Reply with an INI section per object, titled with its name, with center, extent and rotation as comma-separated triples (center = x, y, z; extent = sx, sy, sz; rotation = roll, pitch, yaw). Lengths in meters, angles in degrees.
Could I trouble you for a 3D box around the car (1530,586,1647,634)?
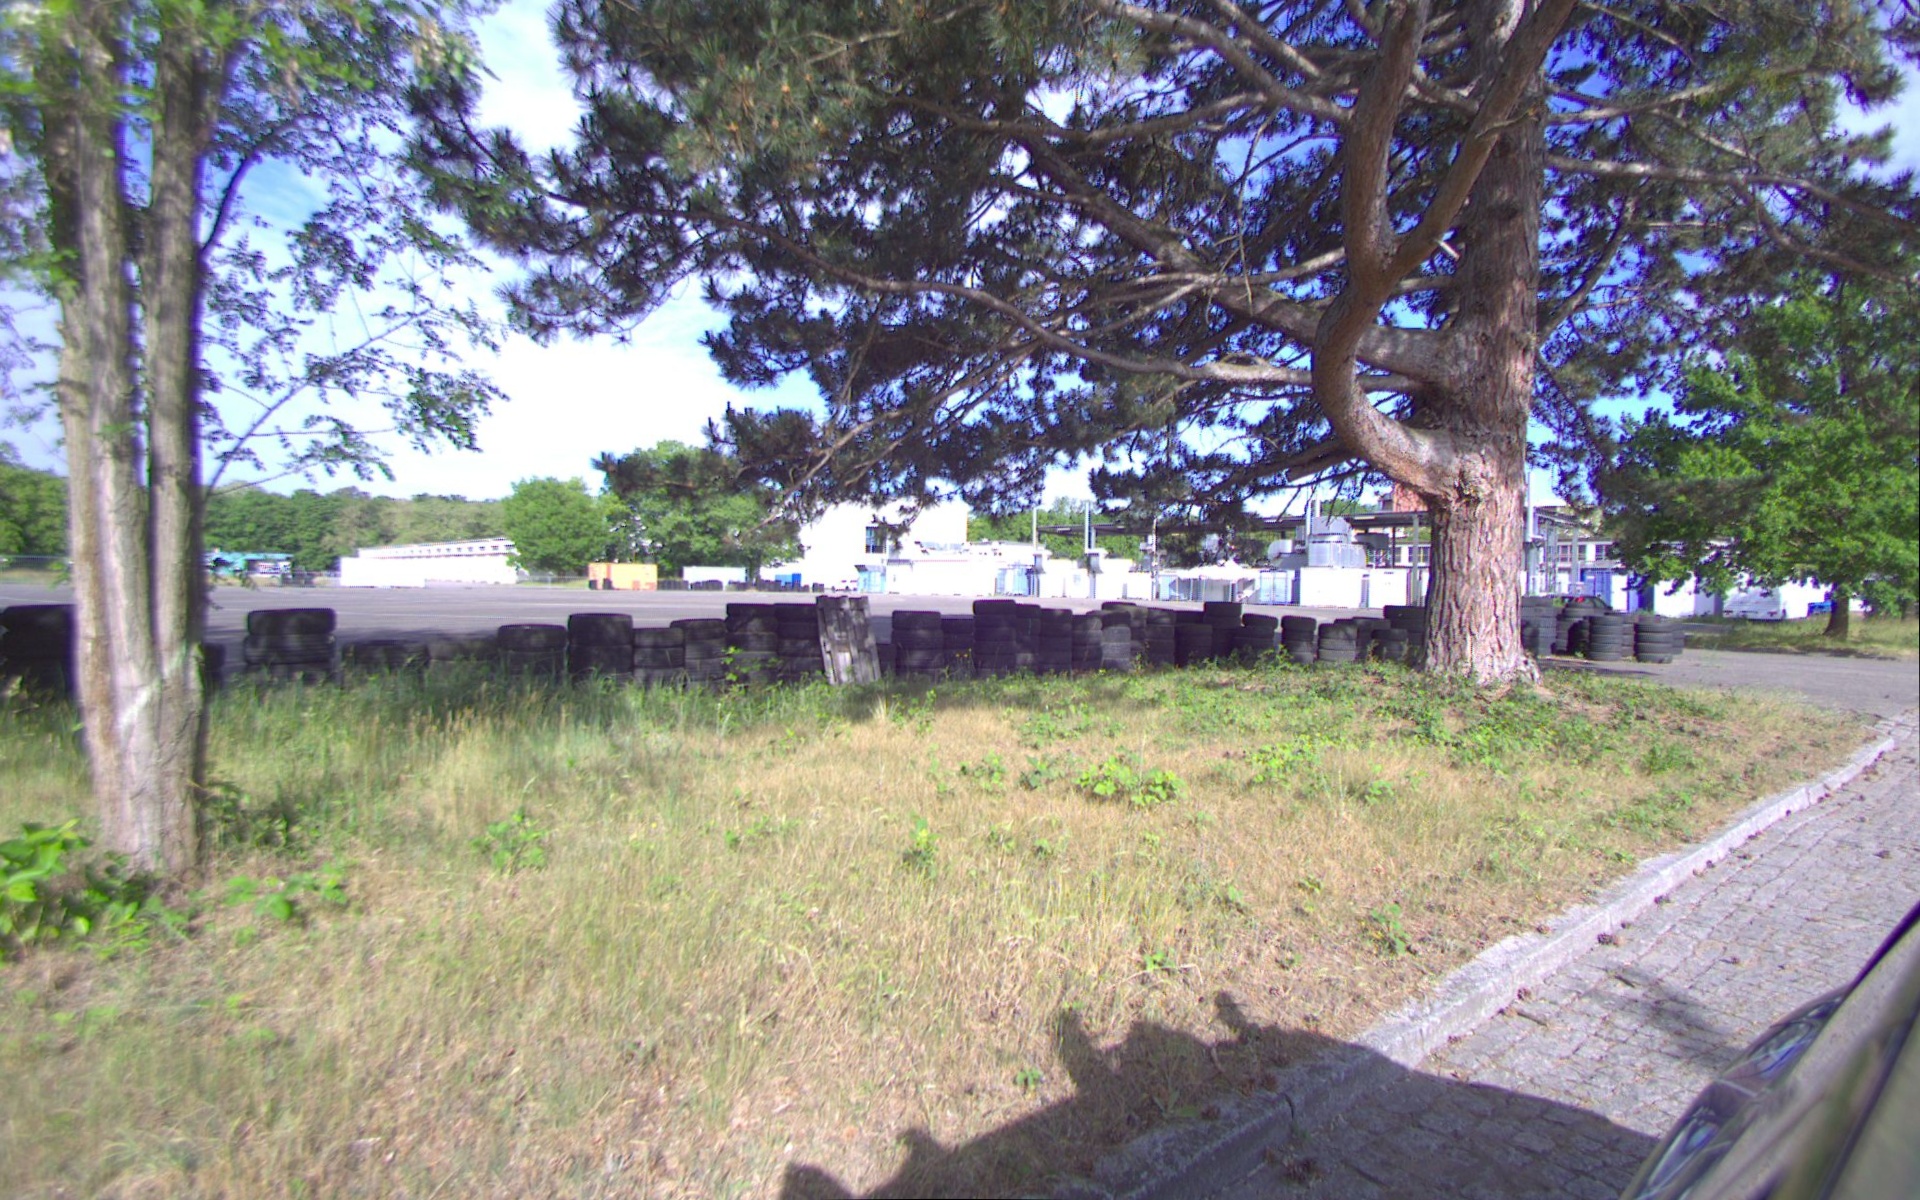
[car]
center = 20.697, 0.306, 33.277
extent = 3.923, 1.467, 1.849
rotation = 0, 1, -35
